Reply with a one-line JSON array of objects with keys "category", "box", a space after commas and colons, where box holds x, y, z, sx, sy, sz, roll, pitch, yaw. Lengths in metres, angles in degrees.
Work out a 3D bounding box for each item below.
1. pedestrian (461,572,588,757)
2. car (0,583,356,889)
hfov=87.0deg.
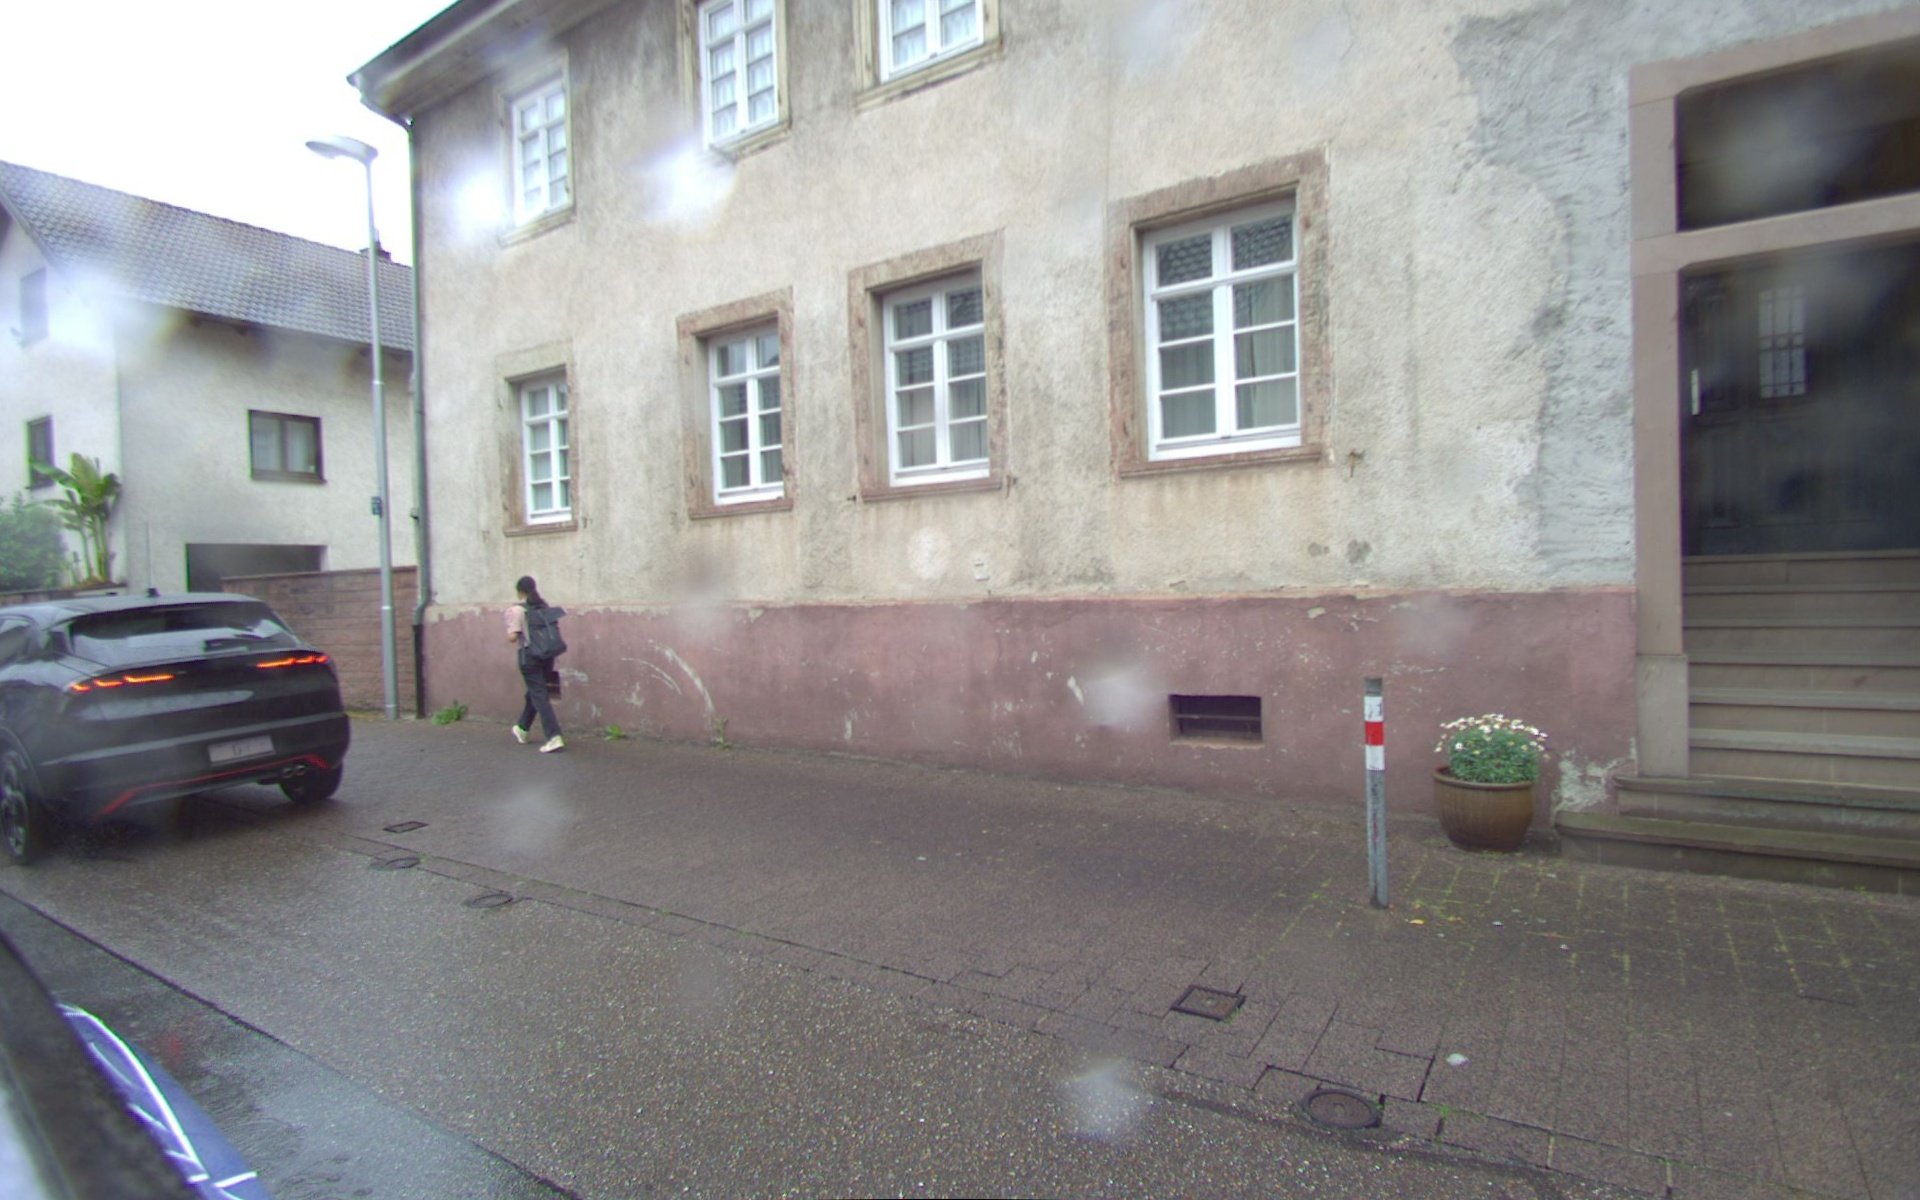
[{"category": "pedestrian", "box": [-3.859, 0.547, 8.973, 0.829, 1.549, 0.568, -1, 2, 29]}, {"category": "car", "box": [-6.064, 0.737, 7.034, 3.781, 1.522, 1.610, -1, 4, 33]}]
